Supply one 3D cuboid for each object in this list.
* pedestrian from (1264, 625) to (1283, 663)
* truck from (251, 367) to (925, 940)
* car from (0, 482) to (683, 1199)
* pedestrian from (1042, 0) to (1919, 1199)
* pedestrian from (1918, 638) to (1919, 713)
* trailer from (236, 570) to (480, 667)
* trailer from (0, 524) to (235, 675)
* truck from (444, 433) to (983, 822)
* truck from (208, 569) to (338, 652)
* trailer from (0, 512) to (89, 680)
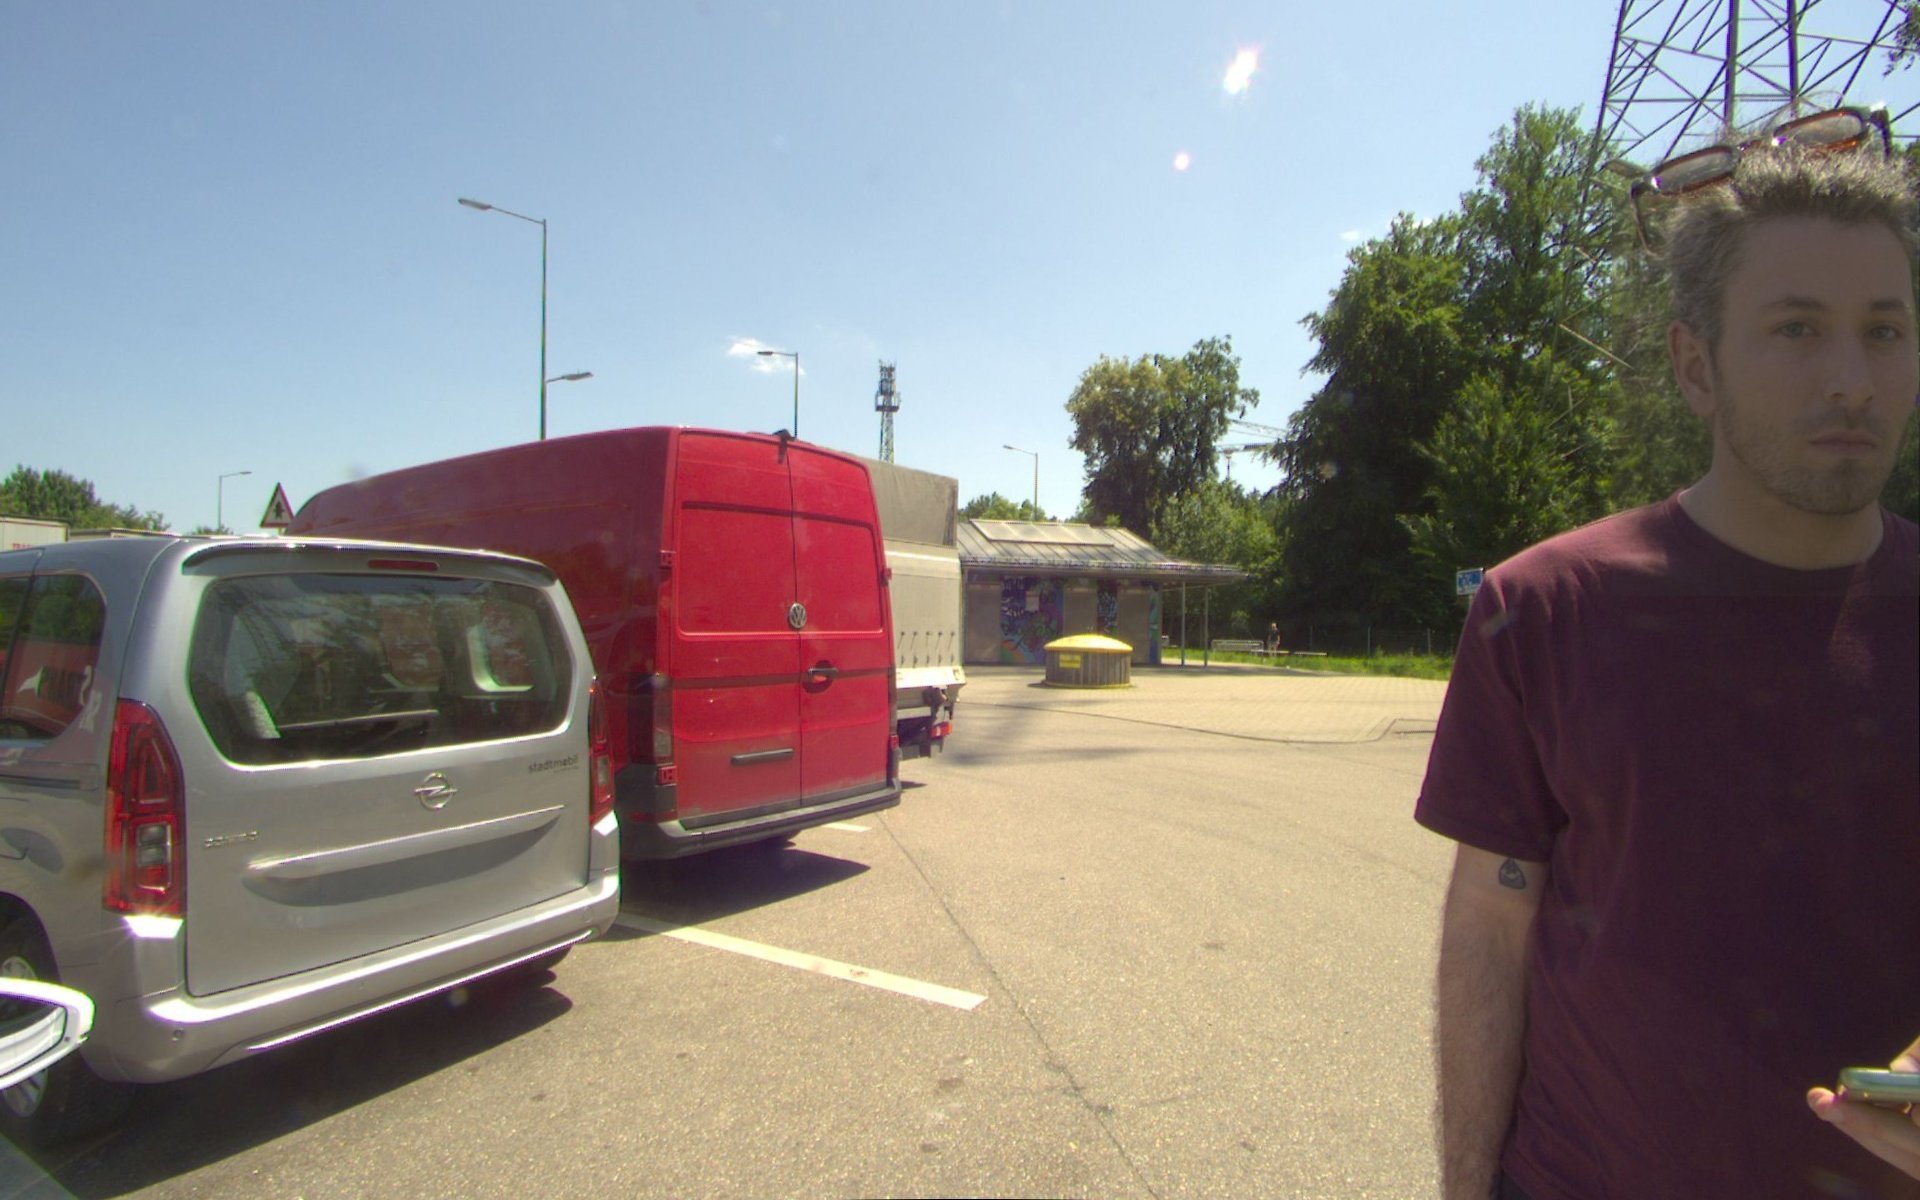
[{"bbox_3d":[13.788,1.928,44.099,0.724,1.658,0.790,-1,-1,23],"label":"pedestrian"},{"bbox_3d":[-2.882,0.342,7.039,5.238,2.655,1.972,-2,-2,38],"label":"truck"},{"bbox_3d":[-3.374,0.691,4.239,4.113,1.887,1.868,1,-2,31],"label":"car"},{"bbox_3d":[0.646,0.505,0.813,0.849,1.857,0.860,-1,-1,34],"label":"pedestrian"},{"bbox_3d":[17.265,1.331,17.468,0.690,1.352,0.561,-1,-1,33],"label":"pedestrian"},{"bbox_3d":[-26.092,0.650,42.893,14.184,3.552,2.808,2,-2,33],"label":"trailer"},{"bbox_3d":[-27.946,-0.099,31.778,14.184,4.040,2.808,2,-2,33],"label":"trailer"},{"bbox_3d":[-2.730,0.310,10.278,5.581,2.949,2.449,-2,-2,37],"label":"truck"},{"bbox_3d":[-32.087,0.470,46.750,5.813,3.566,2.799,2,-2,33],"label":"truck"},{"bbox_3d":[-29.009,-0.257,28.132,14.184,4.040,2.808,2,-2,33],"label":"trailer"}]
